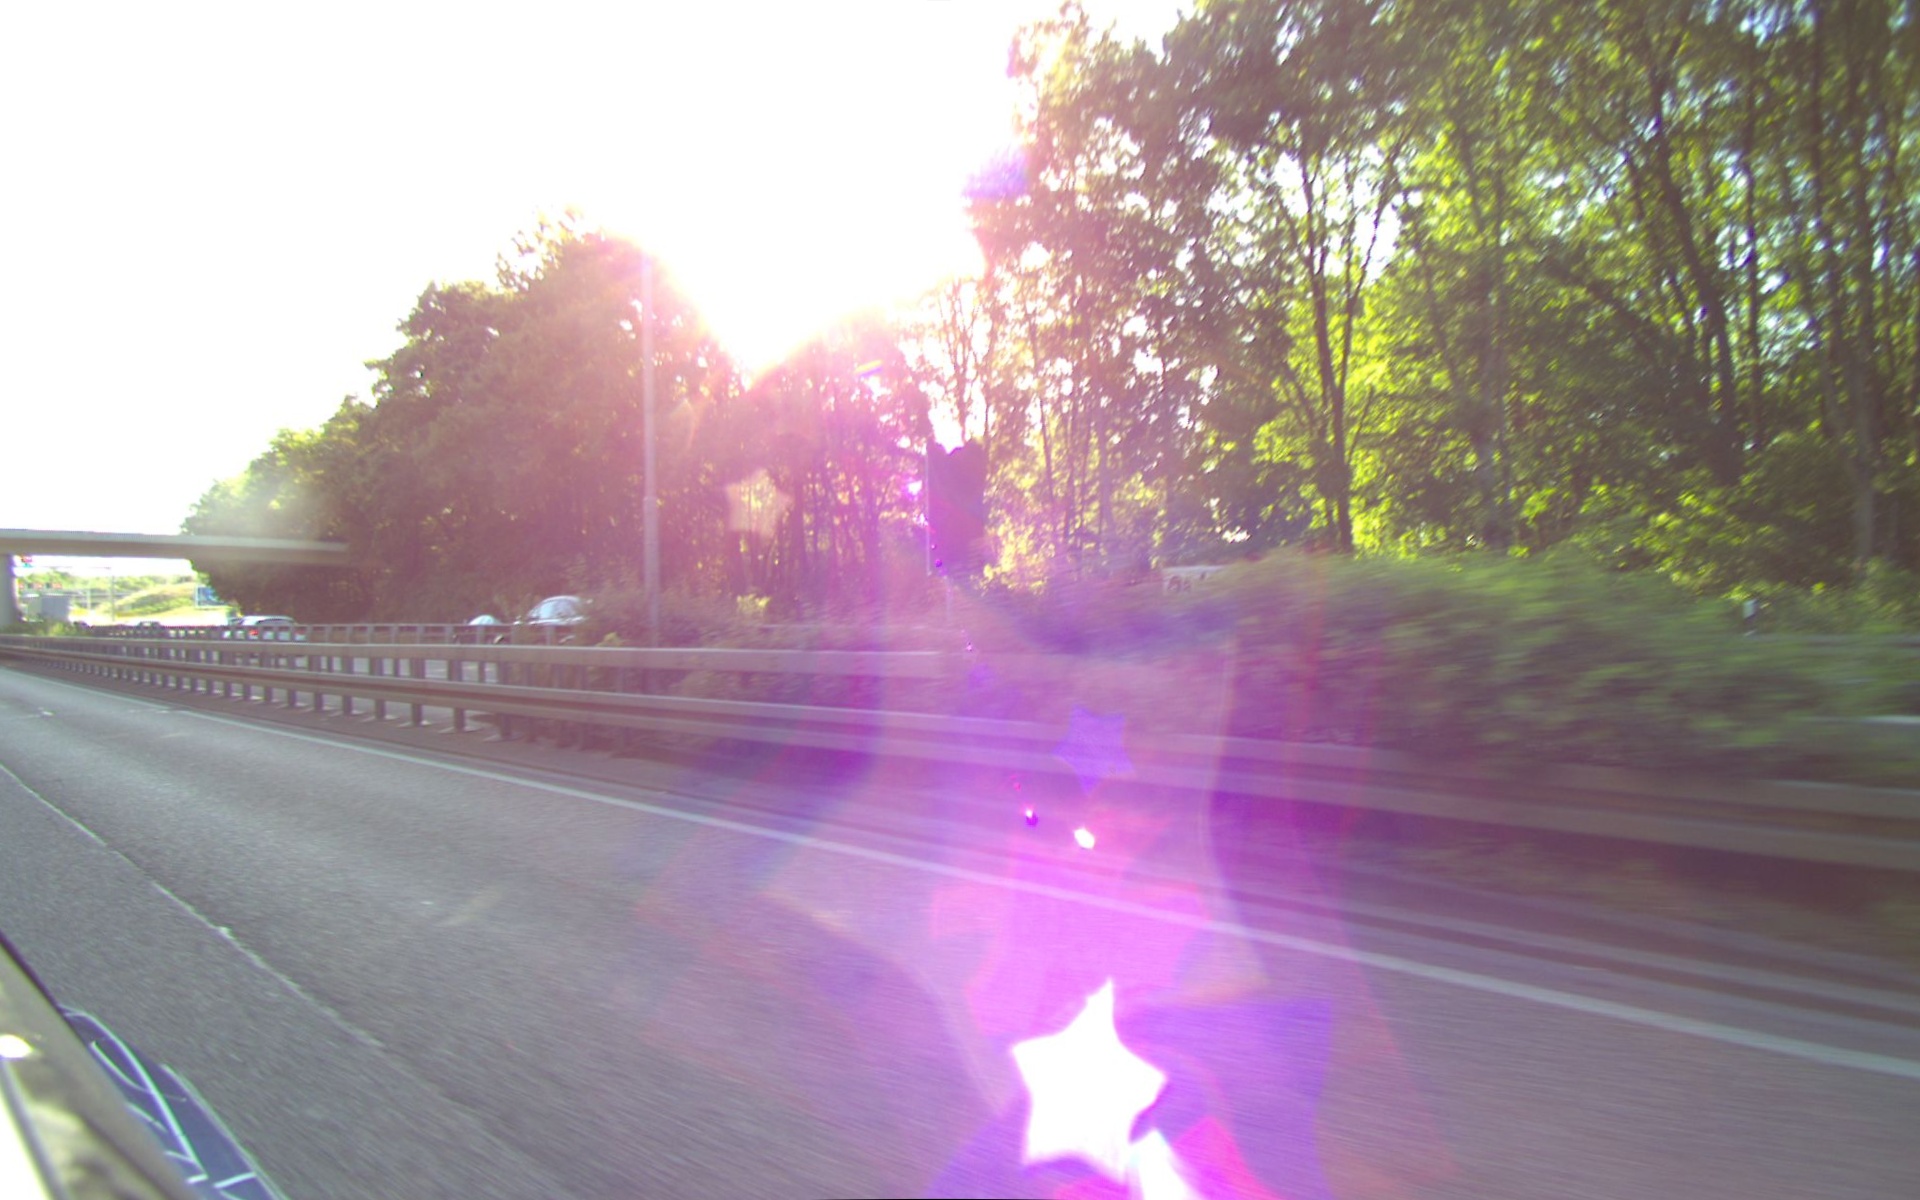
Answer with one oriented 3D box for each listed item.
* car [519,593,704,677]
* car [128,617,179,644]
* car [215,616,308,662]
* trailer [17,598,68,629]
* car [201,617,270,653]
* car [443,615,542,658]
[{"bbox_3d":[-6.917,0.653,19.939,3.941,1.508,1.732,-1,-1,41],"label":"car"},{"bbox_3d":[-54.678,2.032,68.599,4.341,1.763,1.972,-1,-1,41],"label":"car"},{"bbox_3d":[-25.015,1.367,36.191,4.395,1.500,1.712,-2,-1,41],"label":"car"},{"bbox_3d":[-97.446,1.438,107.447,11.914,3.192,2.898,-1,-1,42],"label":"trailer"},{"bbox_3d":[-37.492,1.779,52.330,4.371,1.763,1.972,-1,-1,41],"label":"car"},{"bbox_3d":[-17.455,1.341,37.688,4.451,1.500,1.712,-2,-1,41],"label":"car"}]
